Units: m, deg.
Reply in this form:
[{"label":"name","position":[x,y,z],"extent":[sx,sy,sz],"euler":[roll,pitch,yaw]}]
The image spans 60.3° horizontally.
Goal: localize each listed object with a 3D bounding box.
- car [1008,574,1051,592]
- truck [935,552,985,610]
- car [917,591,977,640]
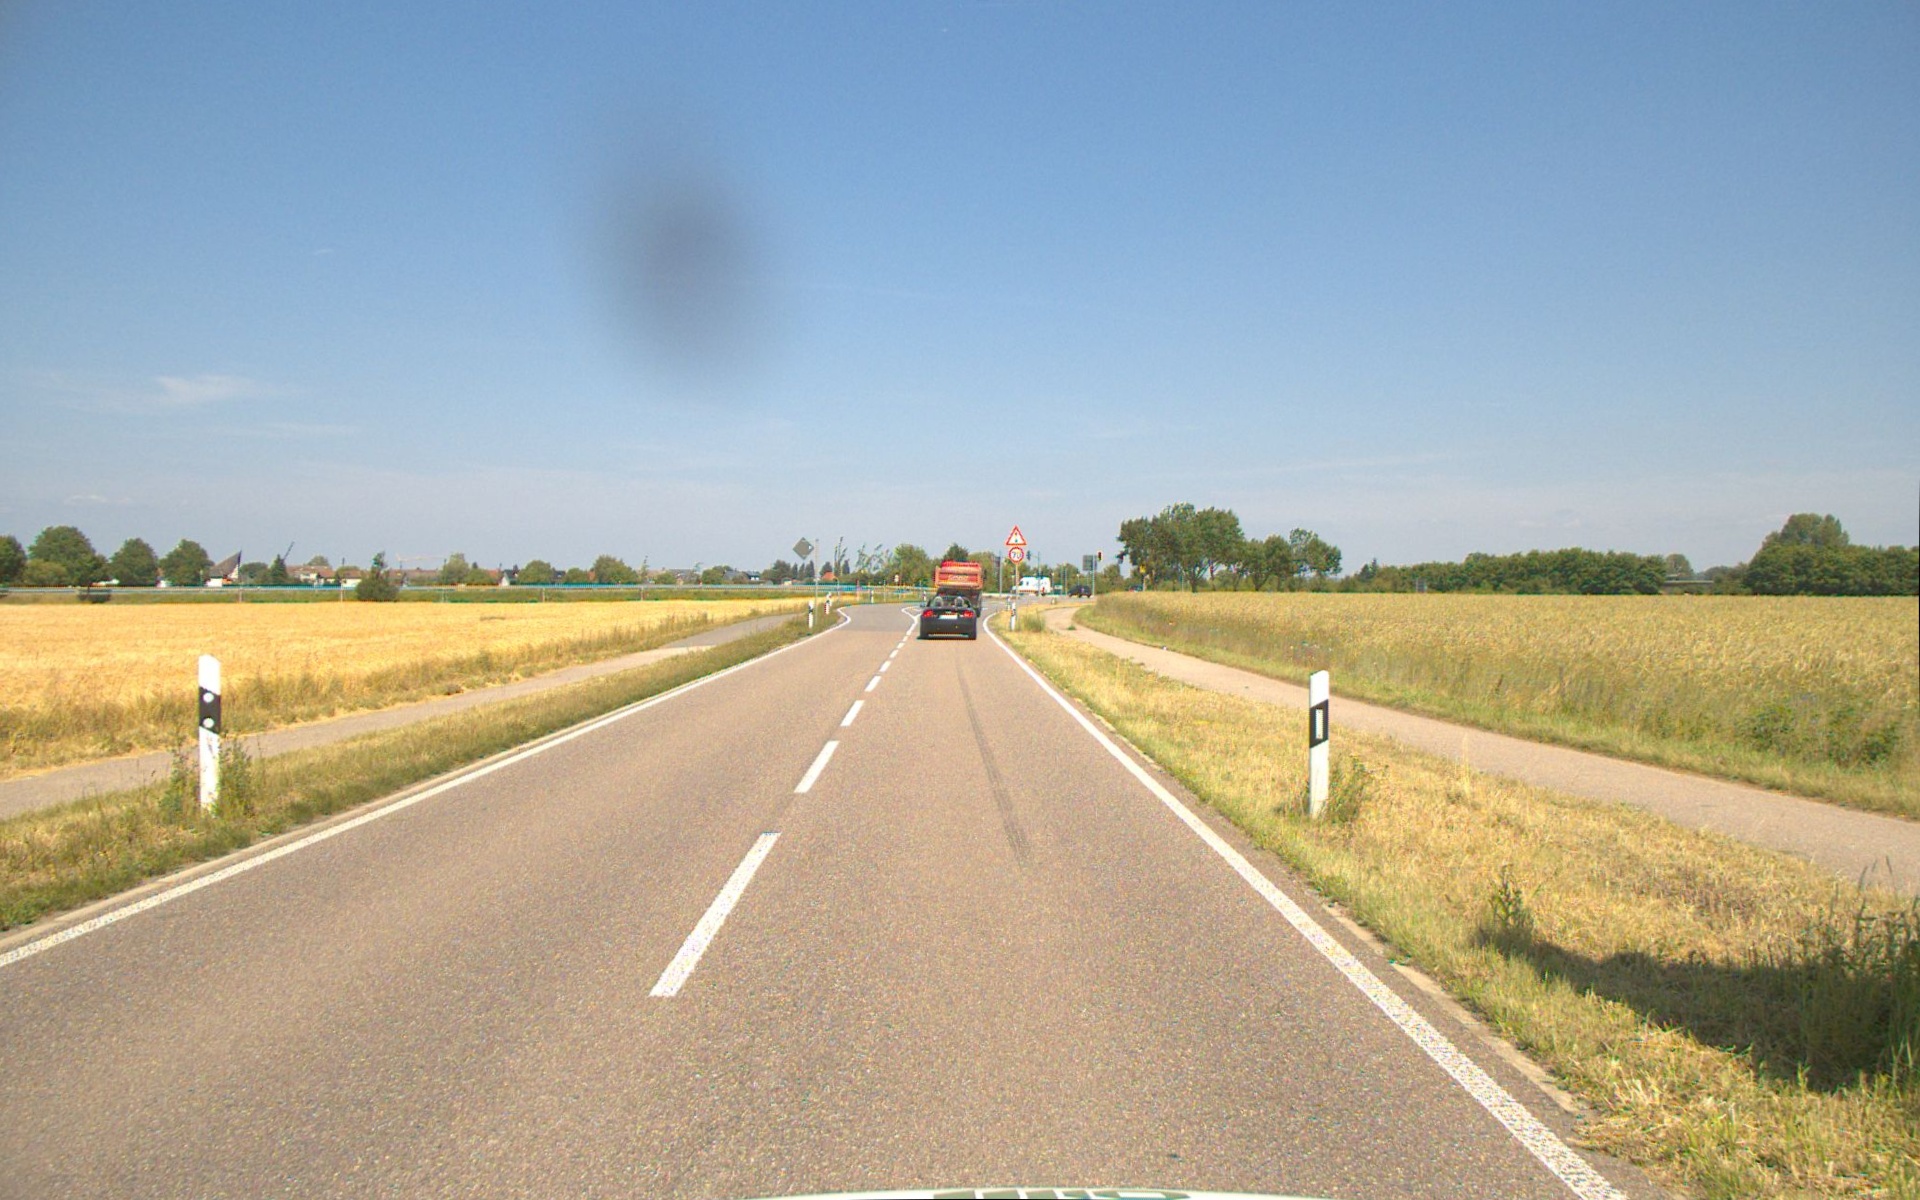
[{"label":"car","position":[9.951,-2.494,236.749],"extent":[5.820,2.464,2.239],"euler":[2,1,37]},{"label":"truck","position":[-0.068,-1.002,93.633],"extent":[2.659,3.106,8.162],"euler":[1,0,-1]},{"label":"car","position":[-0.404,0.474,50.746],"extent":[1.712,1.399,3.678],"euler":[2,0,-1]}]
